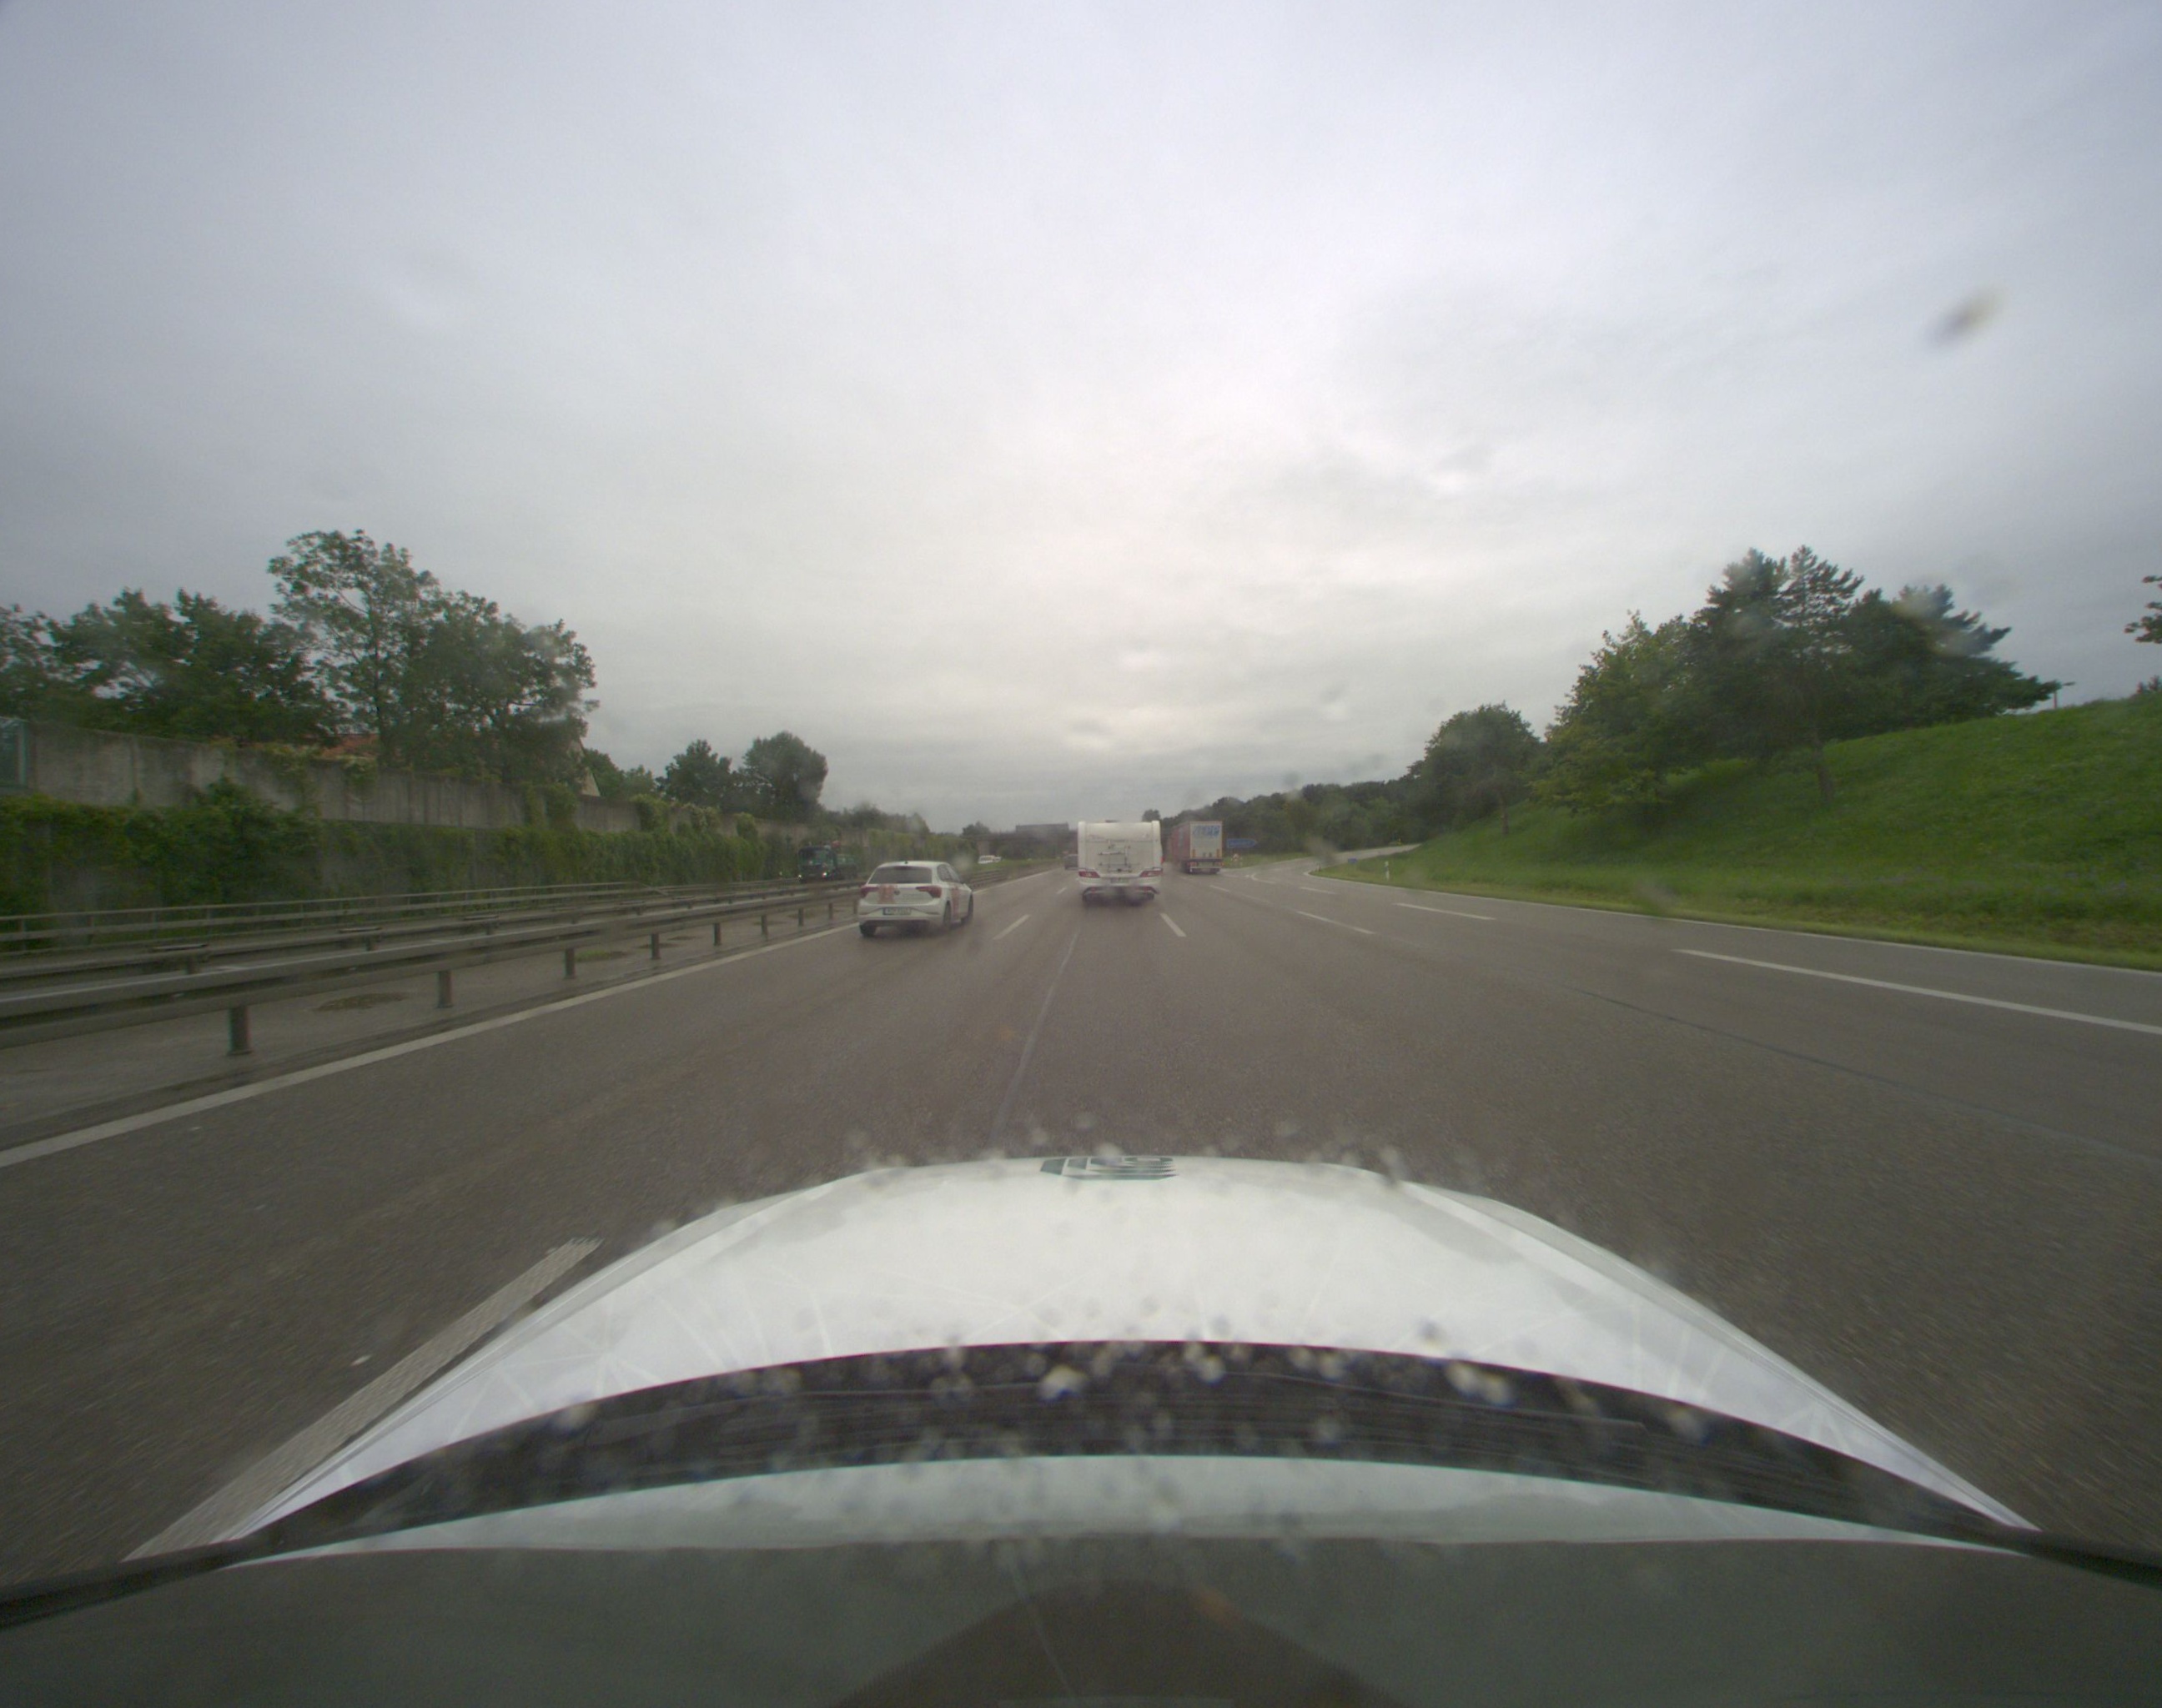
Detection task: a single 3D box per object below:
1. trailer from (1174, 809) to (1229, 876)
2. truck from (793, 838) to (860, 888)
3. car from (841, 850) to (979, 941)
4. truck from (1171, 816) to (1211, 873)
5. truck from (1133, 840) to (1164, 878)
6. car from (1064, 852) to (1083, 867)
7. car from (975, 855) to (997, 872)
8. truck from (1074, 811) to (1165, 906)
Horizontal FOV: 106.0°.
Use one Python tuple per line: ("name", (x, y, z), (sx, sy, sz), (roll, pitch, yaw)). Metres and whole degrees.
("trailer", (9.575, -0.834, 66.124), (3.088, 4.922, 11.795), (0, 0, 2))
("truck", (-20.440, 0.691, 65.898), (2.682, 3.777, 8.338), (0, 0, 1))
("car", (-3.427, 0.755, 17.211), (1.746, 1.618, 4.665), (-2, 0, 2))
("truck", (9.842, -0.800, 73.308), (3.036, 4.839, 5.853), (0, -1, 2))
("truck", (5.087, 0.368, 62.388), (2.046, 2.770, 5.550), (0, 0, 1))
("car", (-0.809, 0.615, 90.982), (1.986, 1.600, 5.125), (0, 0, 2))
("car", (-12.110, 1.201, 104.546), (2.073, 2.013, 5.196), (-2, 0, 1))
("truck", (1.198, 0.141, 26.282), (2.651, 2.742, 5.079), (0, 0, 1))
